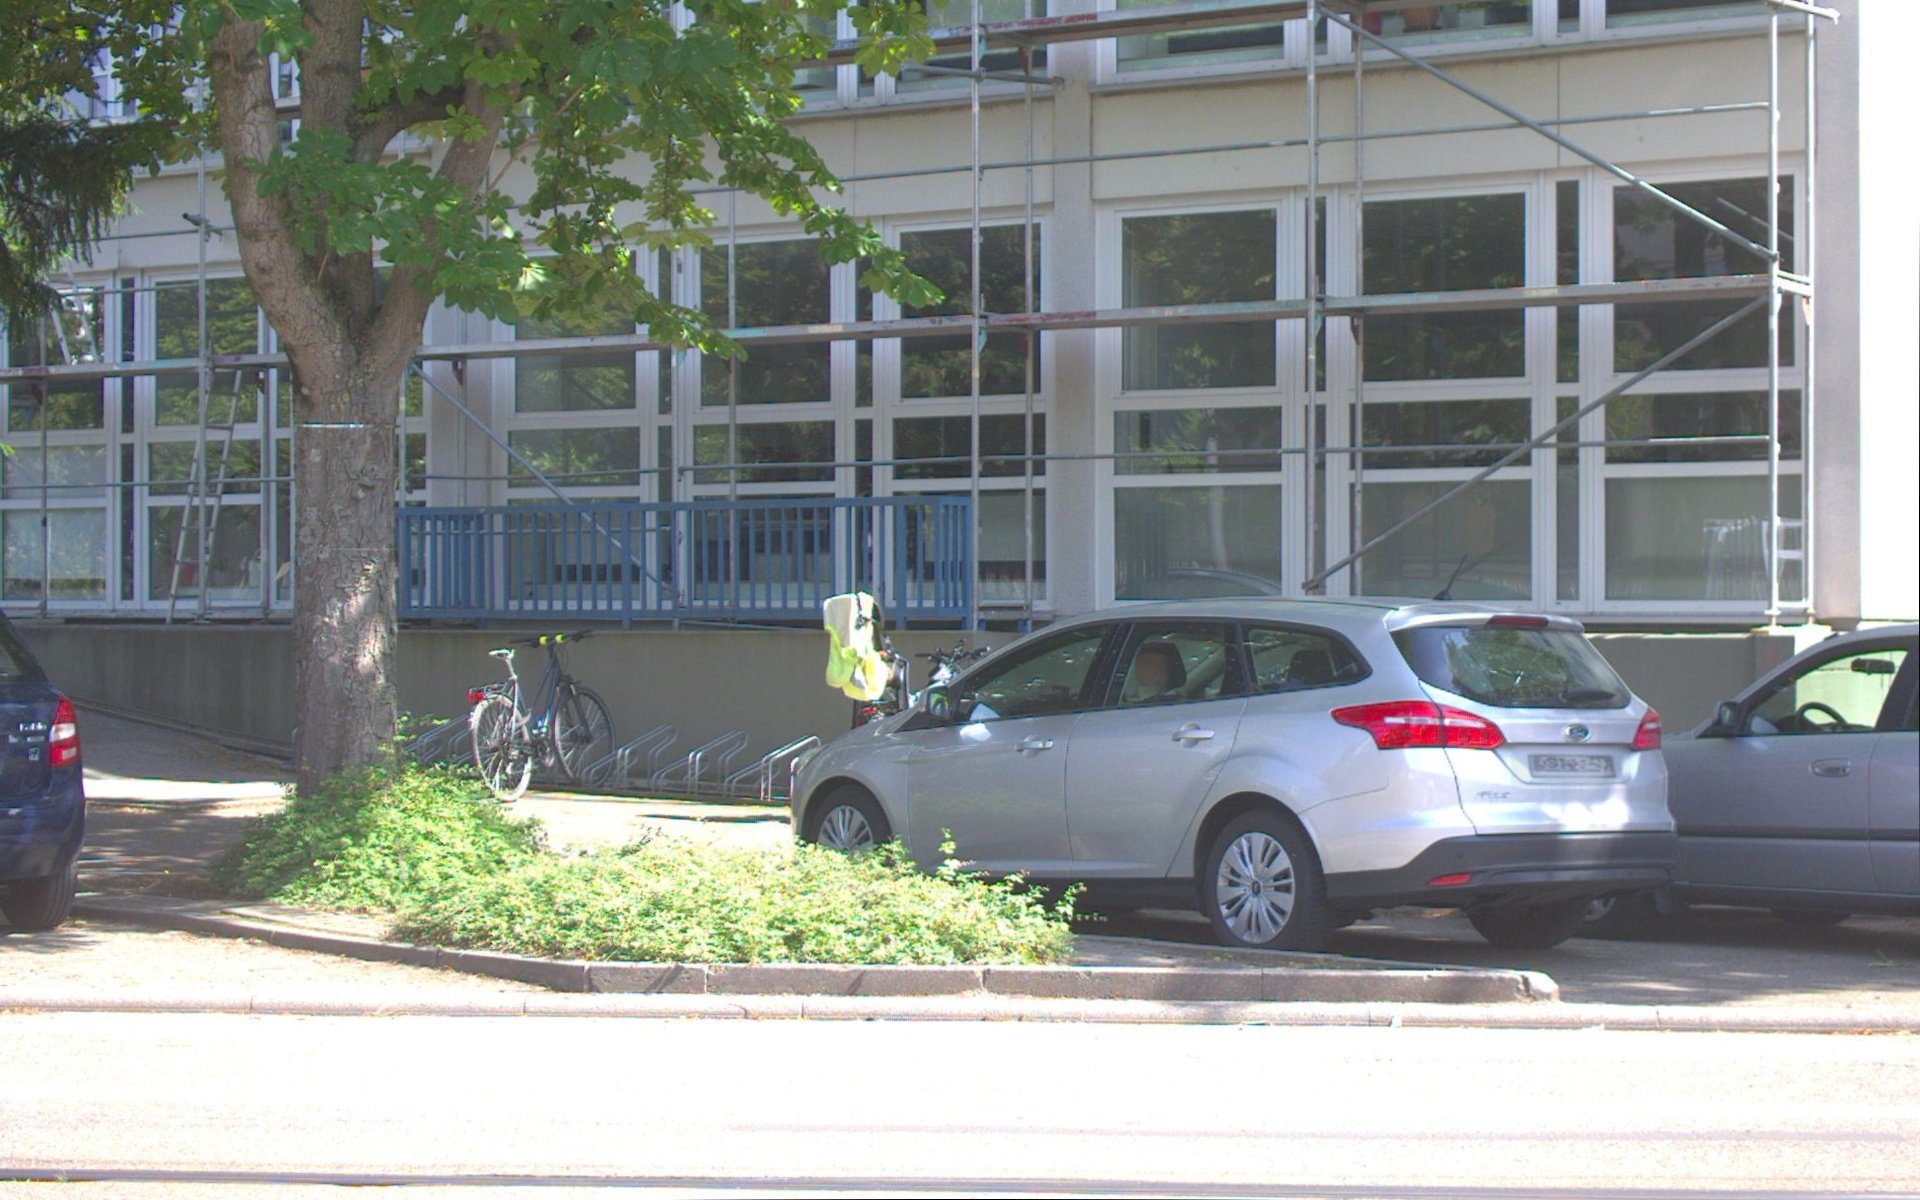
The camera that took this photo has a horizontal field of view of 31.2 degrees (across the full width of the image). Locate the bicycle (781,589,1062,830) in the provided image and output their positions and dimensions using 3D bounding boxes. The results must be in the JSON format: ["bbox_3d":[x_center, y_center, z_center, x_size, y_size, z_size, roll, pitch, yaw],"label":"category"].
[{"bbox_3d":[-0.216,0.668,21.740,0.662,1.448,2.086,0,-1,36],"label":"bicycle"}]

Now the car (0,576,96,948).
[{"bbox_3d":[-5.336,0.667,15.181,1.572,1.526,3.457,1,-1,-40],"label":"car"}]

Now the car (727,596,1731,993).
[{"bbox_3d":[1.018,0.737,15.074,1.779,1.481,4.434,1,-1,-40],"label":"car"}]

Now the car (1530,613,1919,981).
[{"bbox_3d":[4.421,0.802,14.447,1.608,1.481,3.944,1,-1,-38],"label":"car"}]

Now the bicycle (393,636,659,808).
[{"bbox_3d":[-2.857,0.781,22.907,0.742,1.082,2.200,0,-1,23],"label":"bicycle"}]
